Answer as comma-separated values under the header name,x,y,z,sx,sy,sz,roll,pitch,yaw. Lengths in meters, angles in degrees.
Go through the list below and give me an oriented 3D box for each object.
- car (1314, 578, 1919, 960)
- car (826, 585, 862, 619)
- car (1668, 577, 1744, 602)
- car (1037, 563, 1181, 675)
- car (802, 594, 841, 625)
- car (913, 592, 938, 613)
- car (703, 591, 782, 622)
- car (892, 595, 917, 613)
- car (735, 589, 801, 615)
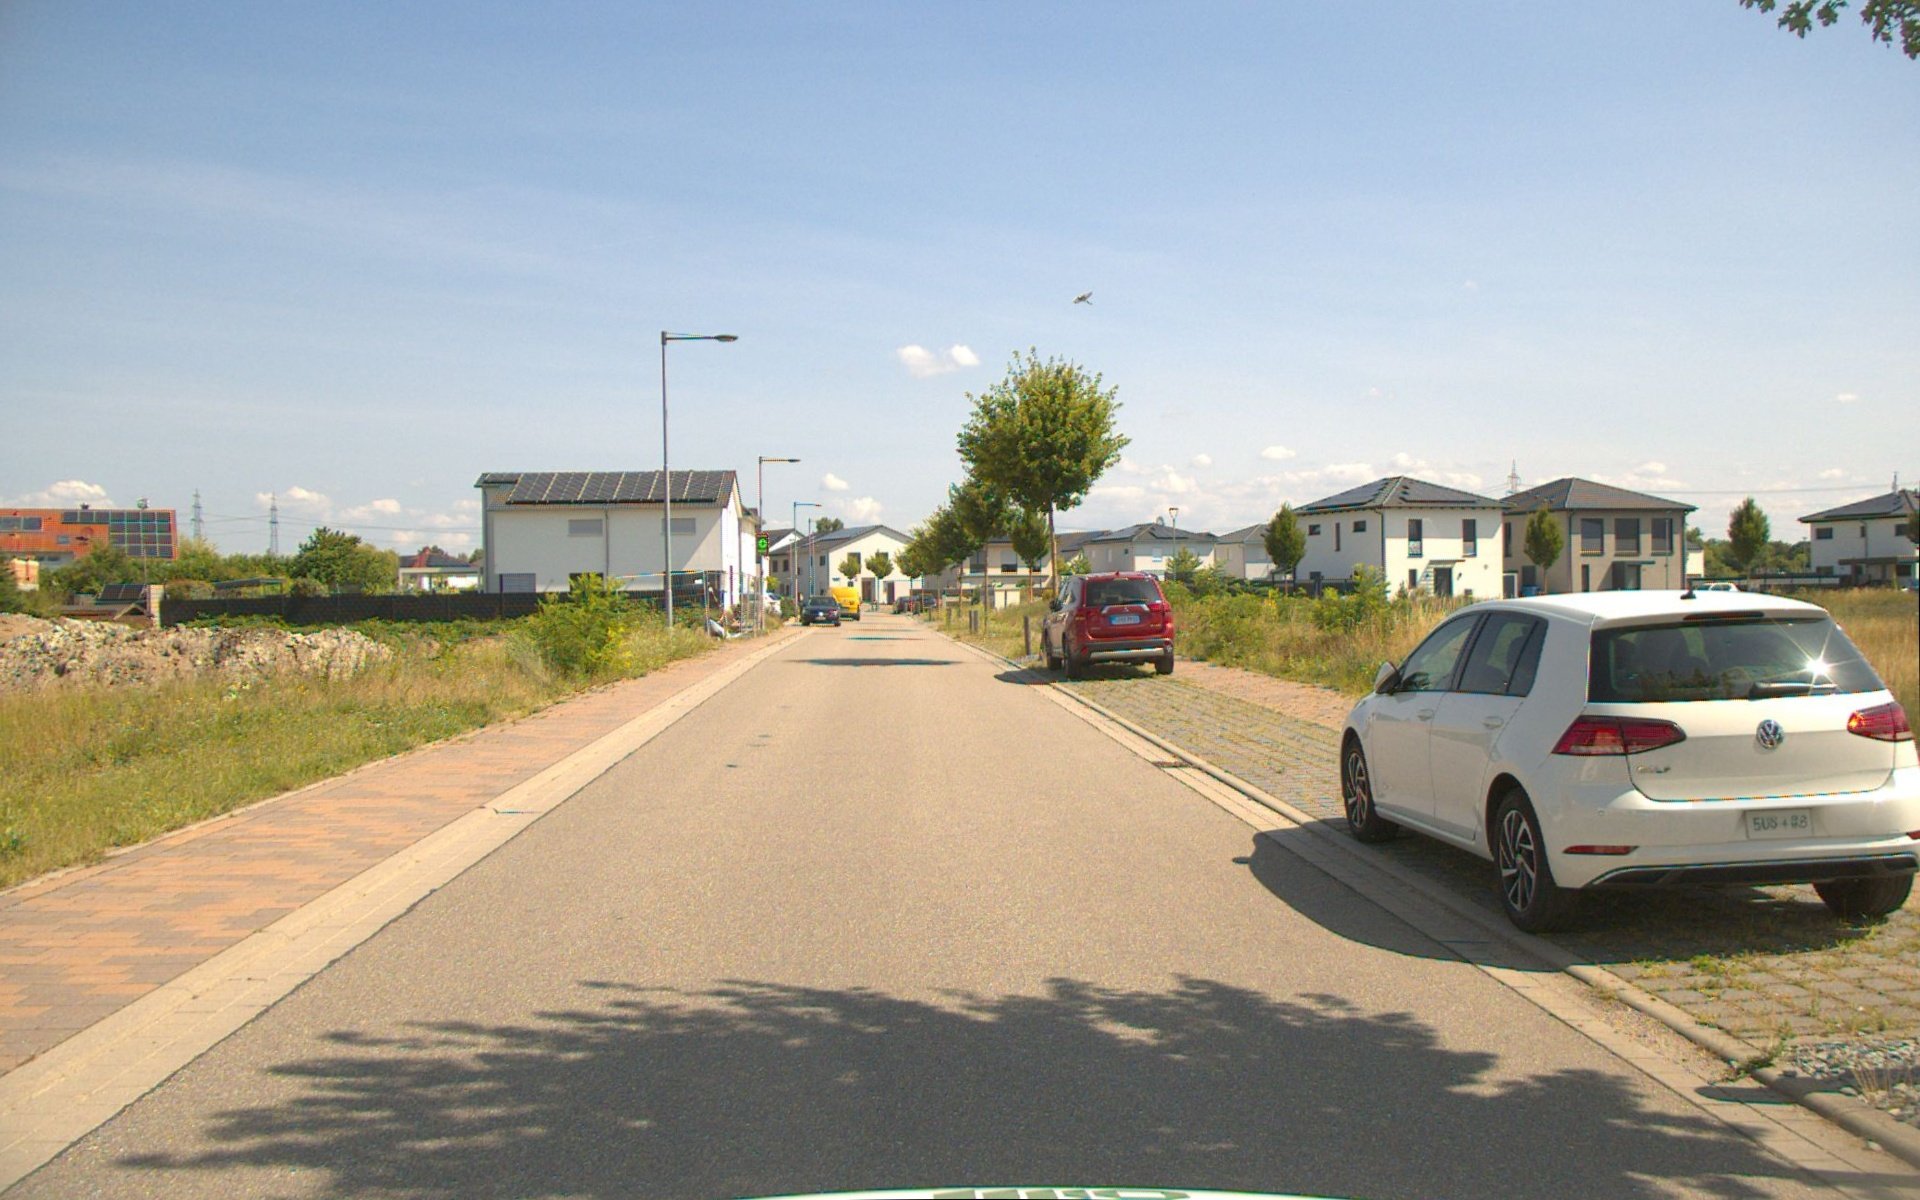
name,x,y,z,sx,sy,sz,roll,pitch,yaw
car,3.302,0.649,8.742,1.740,1.444,4.163,-3,1,-3
car,-7.028,0.140,99.892,1.904,2.016,4.210,-1,-1,-7
car,44.494,-0.643,98.645,3.924,1.422,1.742,-1,-1,-17
car,2.459,0.276,28.276,1.742,1.692,4.430,-2,1,-4
car,-6.643,0.440,79.703,1.710,1.429,4.157,1,0,-3
car,-2.545,0.201,120.248,1.607,1.427,3.807,-1,-1,-4
car,-11.812,0.324,89.958,3.984,1.609,1.785,0,1,2
car,-4.702,0.315,138.756,1.598,1.346,3.824,-1,-2,-10
car,-12.805,0.145,110.299,4.098,1.531,1.805,3,-1,-19
